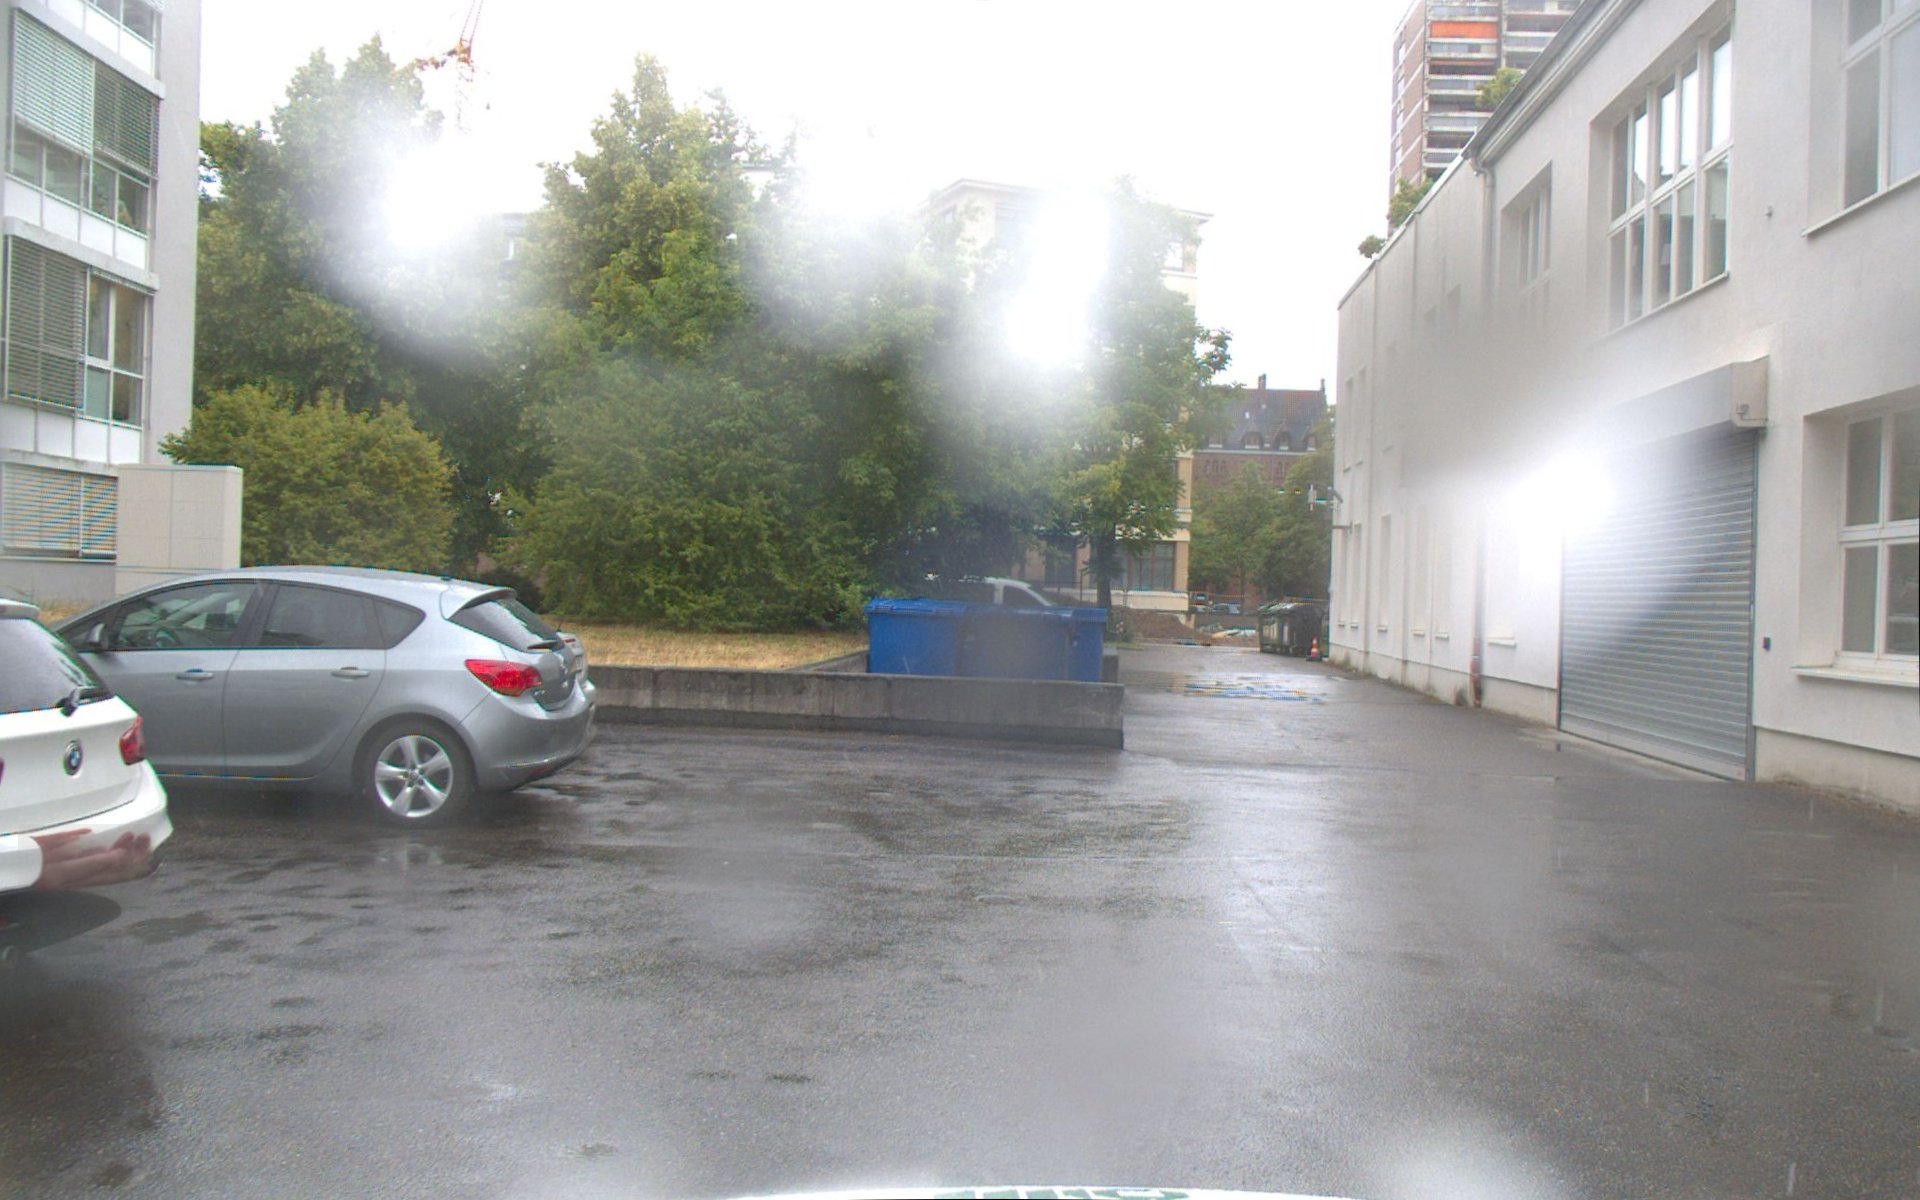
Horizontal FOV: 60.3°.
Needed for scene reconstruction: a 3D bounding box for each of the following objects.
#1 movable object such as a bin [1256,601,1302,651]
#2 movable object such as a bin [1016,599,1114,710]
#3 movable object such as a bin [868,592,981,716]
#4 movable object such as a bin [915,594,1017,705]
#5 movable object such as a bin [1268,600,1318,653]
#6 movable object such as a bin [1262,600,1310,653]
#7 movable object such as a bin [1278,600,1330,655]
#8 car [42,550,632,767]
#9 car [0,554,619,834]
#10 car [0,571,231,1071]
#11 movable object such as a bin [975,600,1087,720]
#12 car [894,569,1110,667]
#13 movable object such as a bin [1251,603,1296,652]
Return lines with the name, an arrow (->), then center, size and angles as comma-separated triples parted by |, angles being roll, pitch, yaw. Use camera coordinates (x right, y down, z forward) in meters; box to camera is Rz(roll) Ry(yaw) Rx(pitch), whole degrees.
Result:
movable object such as a bin -> 9.736, 0.806, 50.484 | 1.189, 1.462, 1.259 | 2, -2, 3
movable object such as a bin -> 1.381, 0.690, 21.556 | 1.195, 1.360, 1.007 | 2, 0, 6
movable object such as a bin -> -0.415, 0.628, 20.074 | 1.177, 1.360, 1.118 | 3, 2, 6
movable object such as a bin -> 0.091, 0.636, 21.677 | 1.195, 1.360, 1.007 | 2, 1, 6
movable object such as a bin -> 9.540, 0.771, 47.467 | 1.189, 1.462, 1.294 | 2, -2, 3
movable object such as a bin -> 9.678, 0.791, 49.107 | 1.189, 1.494, 1.236 | 2, -2, 3
movable object such as a bin -> 9.506, 0.762, 45.783 | 1.189, 1.462, 1.236 | 2, -2, 3
car -> -4.979, 0.431, 13.632 | 4.080, 1.356, 1.823 | 4, 1, 1
car -> -4.424, 0.524, 10.514 | 4.080, 1.509, 1.822 | 2, 1, 0
car -> -4.805, 0.581, 5.357 | 4.054, 1.459, 1.753 | 2, 0, 0
movable object such as a bin -> 0.876, 0.705, 19.980 | 1.177, 1.360, 1.117 | 2, 0, 9
car -> 0.988, 0.382, 37.199 | 4.679, 2.049, 2.001 | 1, 0, 6
movable object such as a bin -> 9.832, 0.858, 51.860 | 1.189, 1.462, 1.259 | 2, -2, 3
